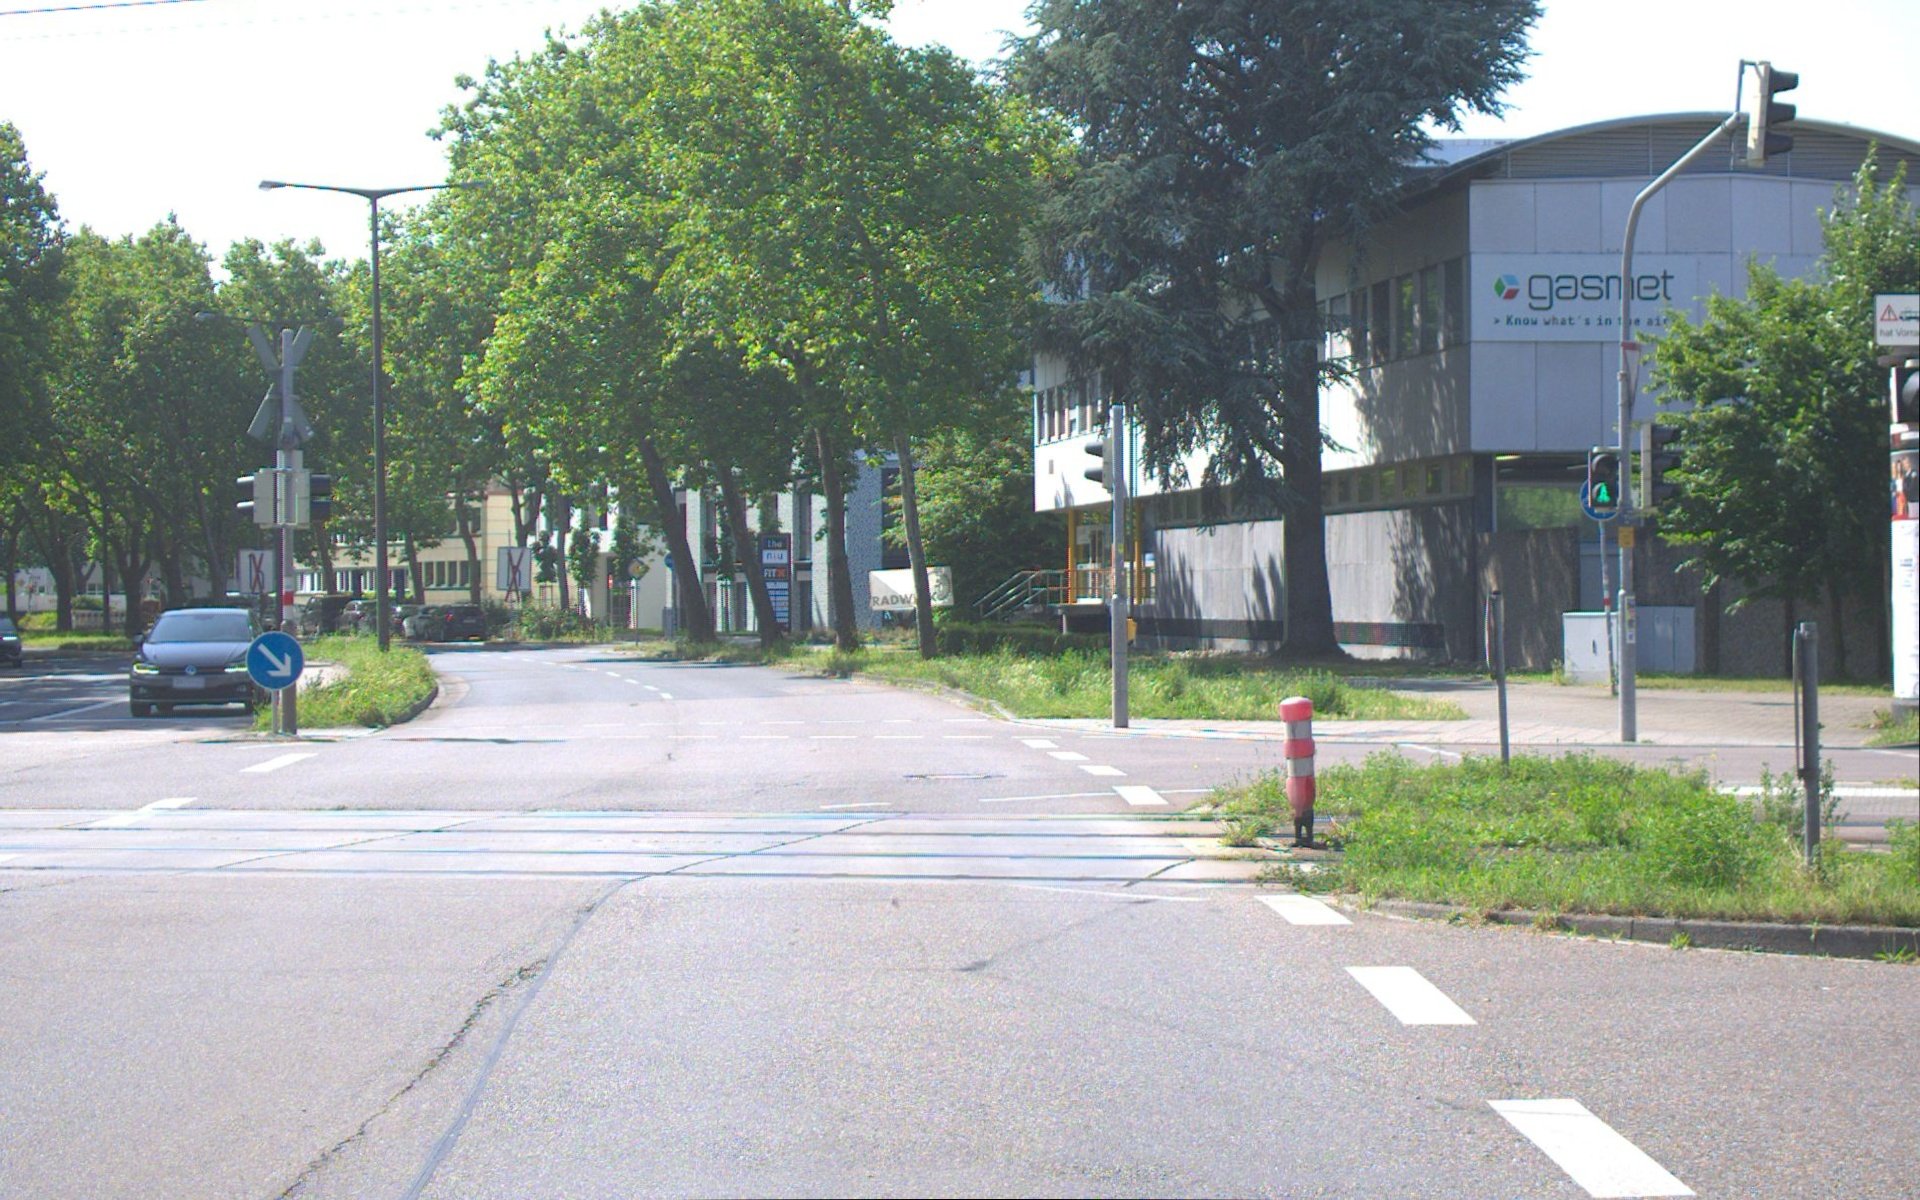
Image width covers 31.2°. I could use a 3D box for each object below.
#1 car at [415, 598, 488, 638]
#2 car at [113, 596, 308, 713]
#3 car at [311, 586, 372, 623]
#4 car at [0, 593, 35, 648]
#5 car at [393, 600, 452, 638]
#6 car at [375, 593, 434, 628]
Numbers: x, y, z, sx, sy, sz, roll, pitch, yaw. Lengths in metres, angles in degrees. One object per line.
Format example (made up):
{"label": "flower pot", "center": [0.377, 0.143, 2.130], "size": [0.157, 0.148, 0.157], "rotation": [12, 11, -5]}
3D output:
{"label": "car", "center": [-20.375, 0.713, 137.531], "size": [1.706, 1.482, 4.720], "rotation": [-2, 1, -23]}
{"label": "car", "center": [-10.208, 0.708, 47.107], "size": [1.694, 1.503, 4.129], "rotation": [0, 0, 1]}
{"label": "car", "center": [-28.596, 0.183, 158.862], "size": [1.706, 1.664, 4.534], "rotation": [-1, 1, -24]}
{"label": "car", "center": [-28.880, 0.603, 102.973], "size": [1.708, 1.584, 4.434], "rotation": [-2, 1, -9]}
{"label": "car", "center": [-22.311, 0.782, 142.562], "size": [1.706, 1.482, 4.102], "rotation": [-1, 0, -19]}
{"label": "car", "center": [-23.898, 0.429, 147.736], "size": [1.706, 1.450, 4.657], "rotation": [-1, 0, -19]}
